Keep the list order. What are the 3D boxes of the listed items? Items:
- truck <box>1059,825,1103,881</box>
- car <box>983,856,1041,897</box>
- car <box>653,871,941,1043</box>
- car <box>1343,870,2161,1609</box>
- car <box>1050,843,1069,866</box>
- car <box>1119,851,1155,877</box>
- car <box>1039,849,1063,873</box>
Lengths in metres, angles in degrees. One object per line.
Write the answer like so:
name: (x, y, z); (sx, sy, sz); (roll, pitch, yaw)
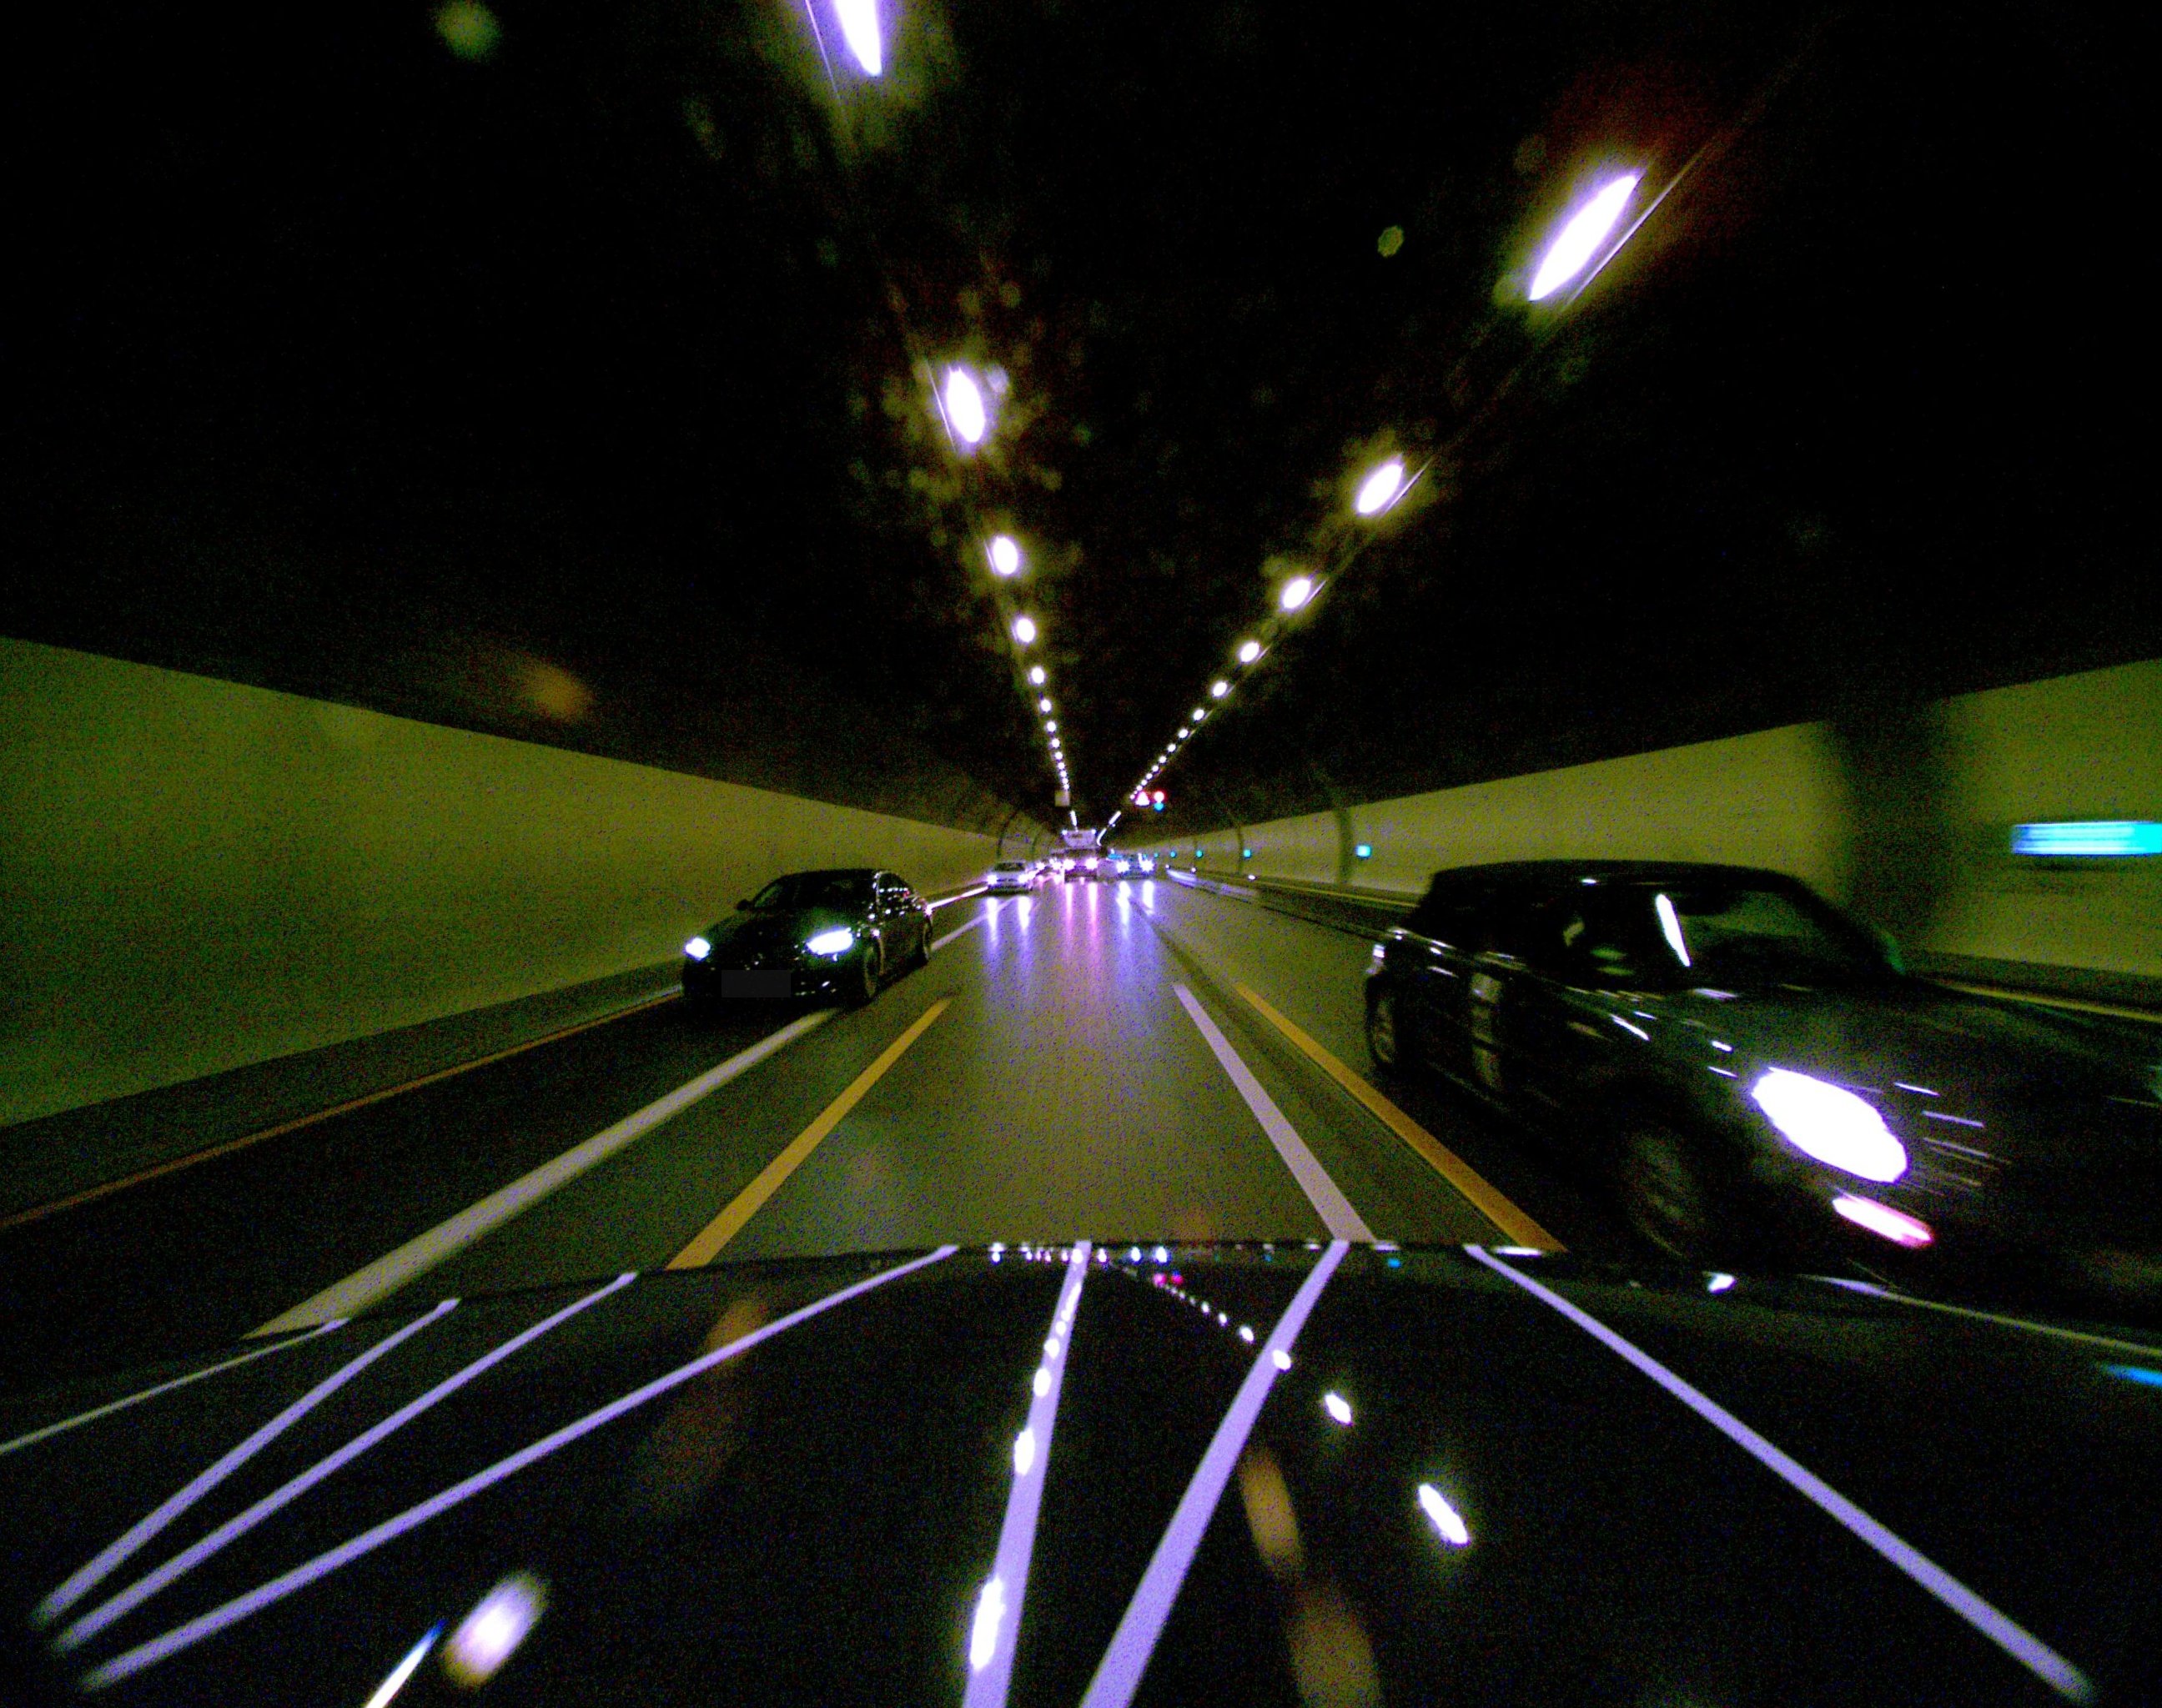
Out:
truck: (0.058, -0.080, 49.684); (2.533, 3.314, 7.716); (-2, 0, 1)
car: (-2.955, 0.912, 33.436); (1.998, 1.531, 4.742); (-2, 1, 1)
car: (-3.149, 1.050, 9.576); (1.825, 1.469, 4.521); (-2, 0, 1)
car: (2.744, 0.856, 3.550); (1.693, 1.409, 3.923); (-2, 0, 1)
car: (-2.651, 0.006, 94.012); (1.998, 2.710, 6.274); (-2, 1, 1)
car: (3.553, 0.595, 49.060); (1.998, 1.531, 4.742); (-2, 1, 1)
car: (-2.682, 0.611, 69.233); (1.999, 2.002, 4.853); (-2, 0, 0)
